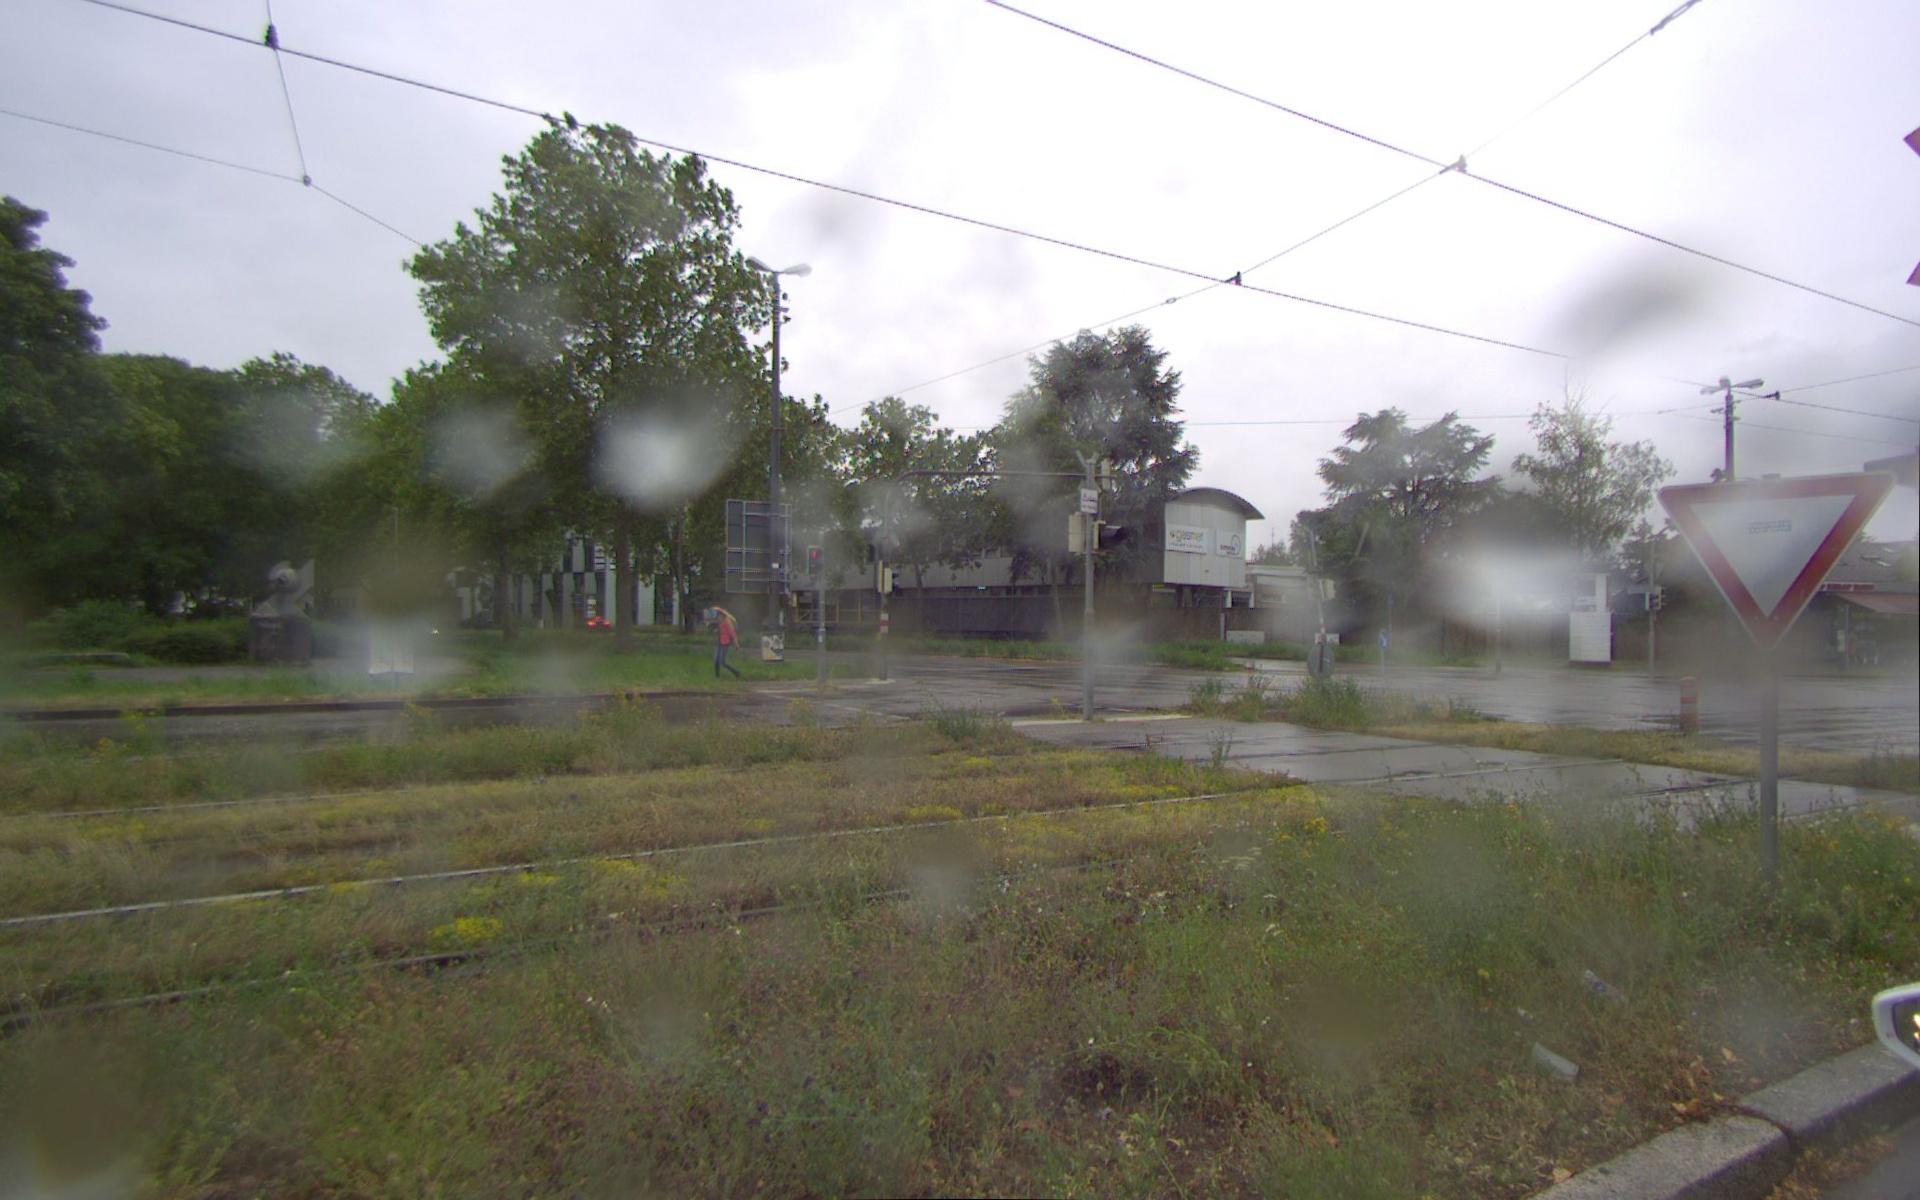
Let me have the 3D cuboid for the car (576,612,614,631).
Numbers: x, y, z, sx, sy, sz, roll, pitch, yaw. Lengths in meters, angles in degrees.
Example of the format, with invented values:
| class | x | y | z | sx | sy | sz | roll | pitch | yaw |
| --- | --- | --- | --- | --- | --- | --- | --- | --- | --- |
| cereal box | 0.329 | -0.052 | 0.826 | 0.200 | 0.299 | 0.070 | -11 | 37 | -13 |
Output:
| class | x | y | z | sx | sy | sz | roll | pitch | yaw |
| --- | --- | --- | --- | --- | --- | --- | --- | --- | --- |
| car | -30.135 | 1.780 | 82.896 | 1.679 | 1.417 | 4.087 | 2 | 0 | -39 |

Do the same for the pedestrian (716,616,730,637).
| class | x | y | z | sx | sy | sz | roll | pitch | yaw |
| --- | --- | --- | --- | --- | --- | --- | --- | --- | --- |
| pedestrian | -19.695 | 2.189 | 83.505 | 0.810 | 1.690 | 0.672 | 2 | 0 | 27 |

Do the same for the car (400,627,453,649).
| class | x | y | z | sx | sy | sz | roll | pitch | yaw |
| --- | --- | --- | --- | --- | --- | --- | --- | --- | --- |
| car | -36.118 | 2.550 | 67.996 | 4.251 | 1.420 | 1.795 | -1 | -1 | 42 |

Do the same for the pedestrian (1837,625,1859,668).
| class | x | y | z | sx | sy | sz | roll | pitch | yaw |
| --- | --- | --- | --- | --- | --- | --- | --- | --- | --- |
| pedestrian | 42.925 | 2.250 | 48.570 | 0.714 | 2.040 | 0.791 | 2 | 0 | 38 |

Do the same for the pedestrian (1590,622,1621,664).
| class | x | y | z | sx | sy | sz | roll | pitch | yaw |
| --- | --- | --- | --- | --- | --- | --- | --- | --- | --- |
| pedestrian | 28.344 | 1.881 | 44.108 | 0.869 | 1.821 | 0.727 | 1 | 1 | -1 |

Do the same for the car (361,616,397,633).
| class | x | y | z | sx | sy | sz | roll | pitch | yaw |
| --- | --- | --- | --- | --- | --- | --- | --- | --- | --- |
| car | -65.872 | 2.757 | 113.878 | 3.934 | 1.806 | 1.993 | 2 | 0 | 36 |

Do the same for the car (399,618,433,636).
| class | x | y | z | sx | sy | sz | roll | pitch | yaw |
| --- | --- | --- | --- | --- | --- | --- | --- | --- | --- |
| car | -59.752 | 2.985 | 110.256 | 3.940 | 1.806 | 1.990 | 2 | 0 | 41 |

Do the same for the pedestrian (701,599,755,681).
| class | x | y | z | sx | sy | sz | roll | pitch | yaw |
| --- | --- | --- | --- | --- | --- | --- | --- | --- | --- |
| pedestrian | -5.874 | 1.003 | 25.405 | 0.998 | 2.017 | 0.945 | 2 | 0 | -34 |

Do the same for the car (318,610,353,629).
| class | x | y | z | sx | sy | sz | roll | pitch | yaw |
| --- | --- | --- | --- | --- | --- | --- | --- | --- | --- |
| car | -75.170 | 2.363 | 120.818 | 3.932 | 2.116 | 2.123 | 2 | 0 | 33 |
